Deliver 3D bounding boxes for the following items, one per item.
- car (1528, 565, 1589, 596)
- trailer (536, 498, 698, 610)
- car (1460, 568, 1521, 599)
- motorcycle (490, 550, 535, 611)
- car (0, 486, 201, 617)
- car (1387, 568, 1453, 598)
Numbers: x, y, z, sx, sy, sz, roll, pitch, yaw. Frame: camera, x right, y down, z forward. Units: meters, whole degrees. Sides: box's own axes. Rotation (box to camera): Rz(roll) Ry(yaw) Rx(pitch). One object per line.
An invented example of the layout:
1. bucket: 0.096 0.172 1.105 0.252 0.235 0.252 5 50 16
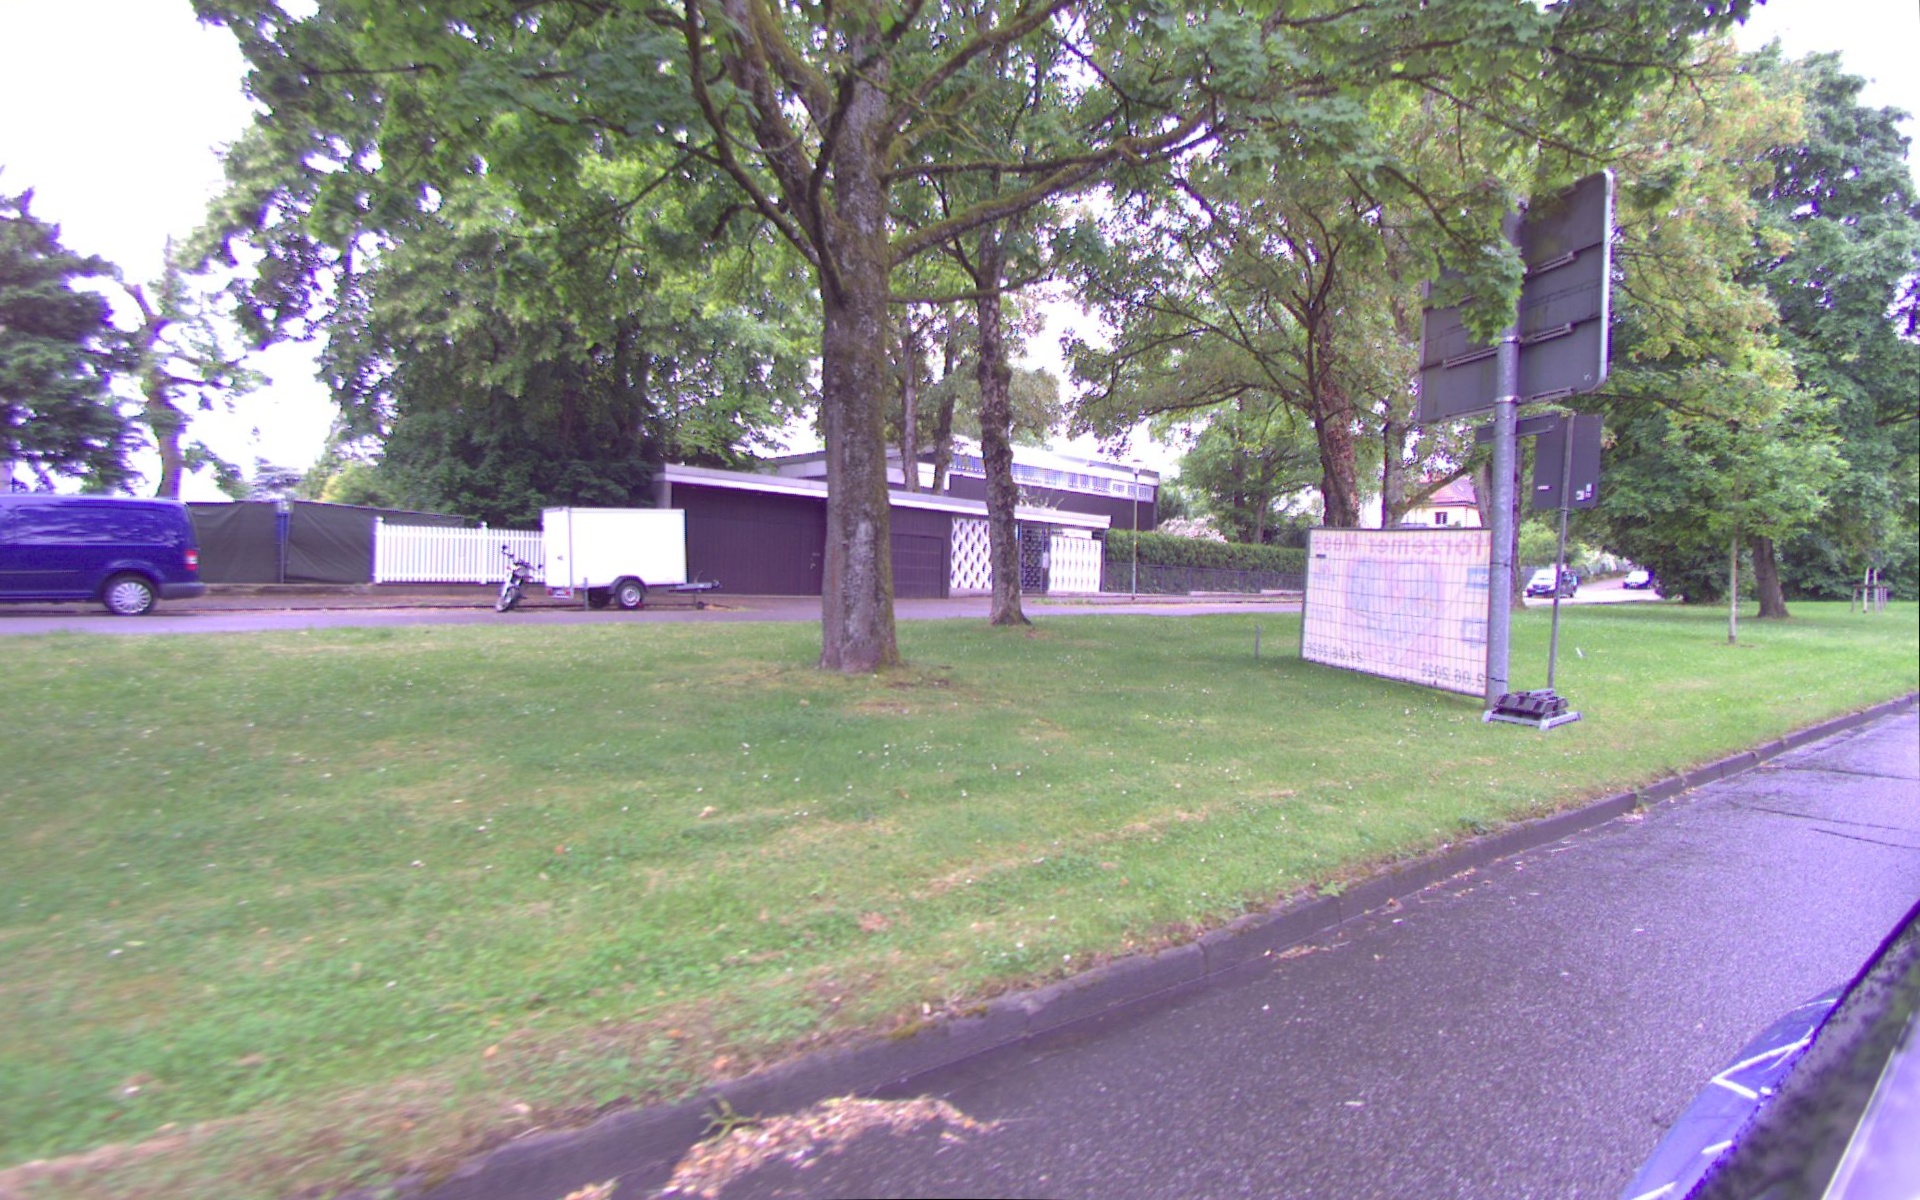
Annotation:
1. car: 39.477 -1.333 66.733 4.986 1.901 2.162 -2 4 -43
2. trailer: -7.194 -0.955 21.347 1.437 2.180 2.903 3 3 45
3. car: 30.596 -0.994 58.300 3.968 1.644 1.904 -2 4 -43
4. motorcycle: -8.684 -0.381 19.690 0.645 1.106 1.896 2 1 -20
5. car: -14.083 -0.730 14.828 4.570 1.831 1.944 0 3 -43
6. car: 22.970 -0.877 50.452 3.648 1.392 1.684 -2 5 -43
